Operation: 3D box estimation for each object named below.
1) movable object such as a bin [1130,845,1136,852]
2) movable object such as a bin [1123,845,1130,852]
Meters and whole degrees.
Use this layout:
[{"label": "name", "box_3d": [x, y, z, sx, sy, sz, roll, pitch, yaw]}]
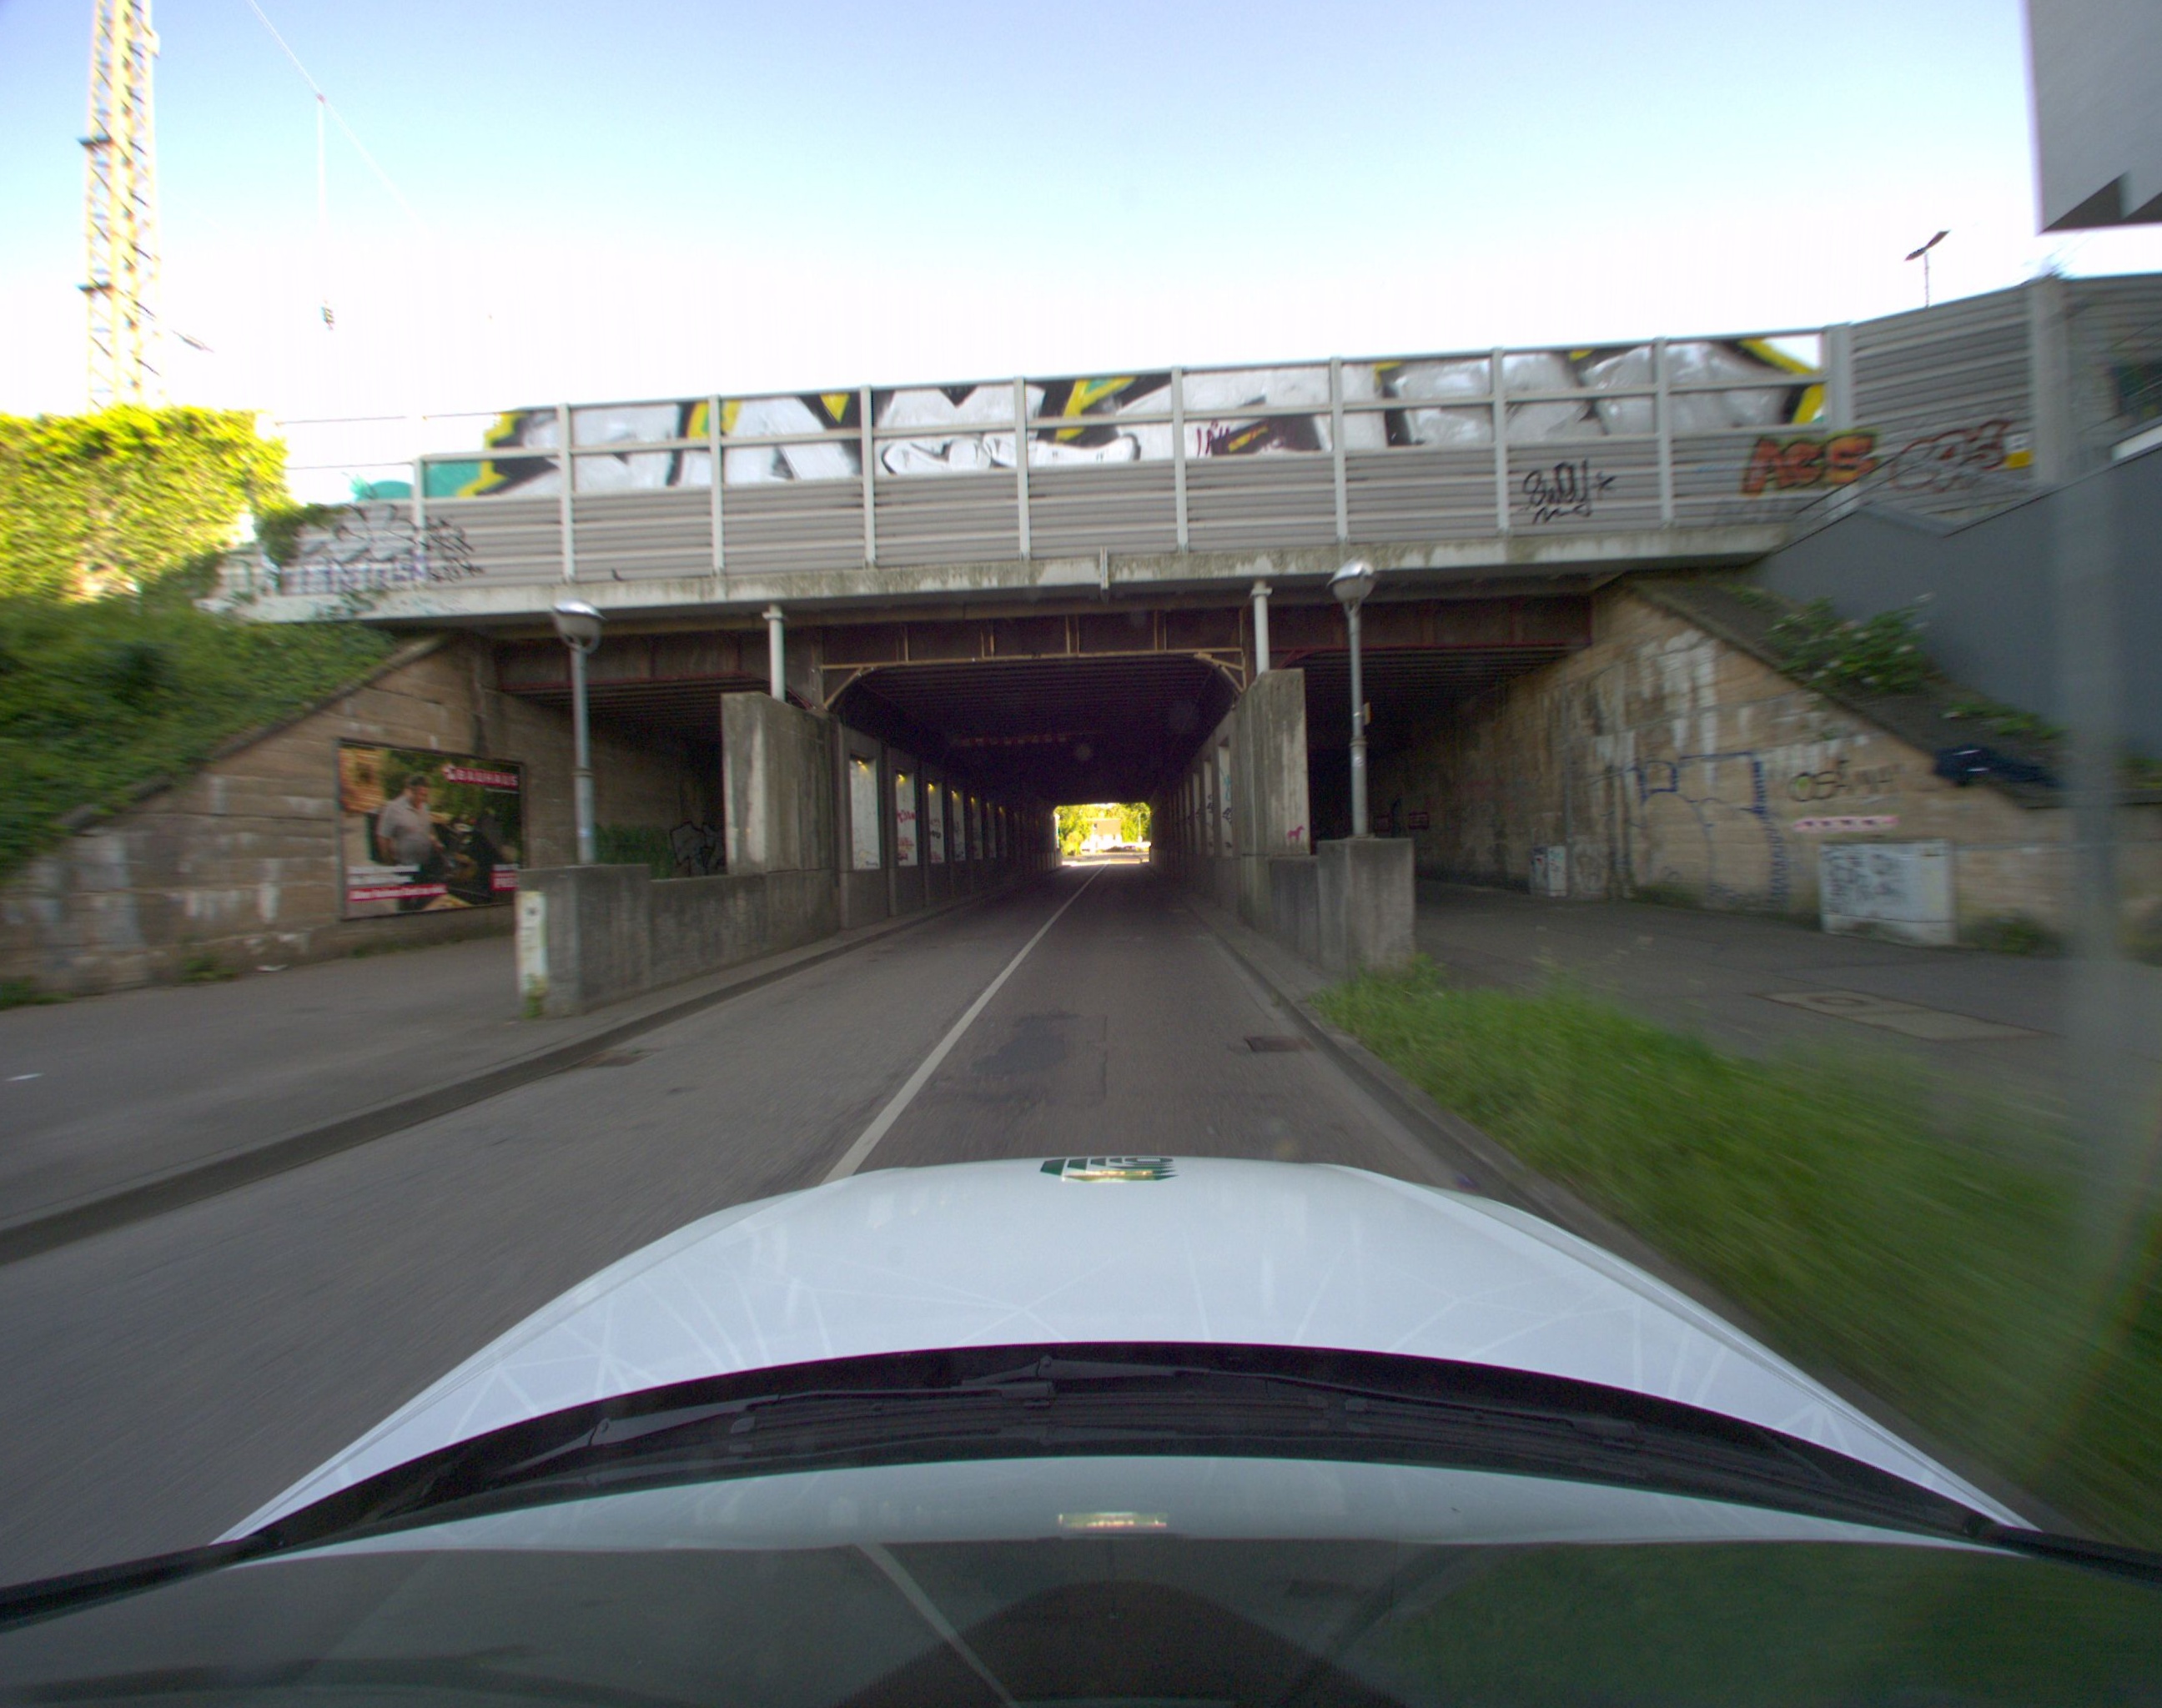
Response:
[{"label": "movable object such as a bin", "box_3d": [11.835, -1.265, 185.651, 1.362, 1.418, 1.064, 0, -1, -4]}, {"label": "movable object such as a bin", "box_3d": [10.402, -1.260, 185.535, 1.362, 1.418, 1.064, 0, -1, -4]}]
